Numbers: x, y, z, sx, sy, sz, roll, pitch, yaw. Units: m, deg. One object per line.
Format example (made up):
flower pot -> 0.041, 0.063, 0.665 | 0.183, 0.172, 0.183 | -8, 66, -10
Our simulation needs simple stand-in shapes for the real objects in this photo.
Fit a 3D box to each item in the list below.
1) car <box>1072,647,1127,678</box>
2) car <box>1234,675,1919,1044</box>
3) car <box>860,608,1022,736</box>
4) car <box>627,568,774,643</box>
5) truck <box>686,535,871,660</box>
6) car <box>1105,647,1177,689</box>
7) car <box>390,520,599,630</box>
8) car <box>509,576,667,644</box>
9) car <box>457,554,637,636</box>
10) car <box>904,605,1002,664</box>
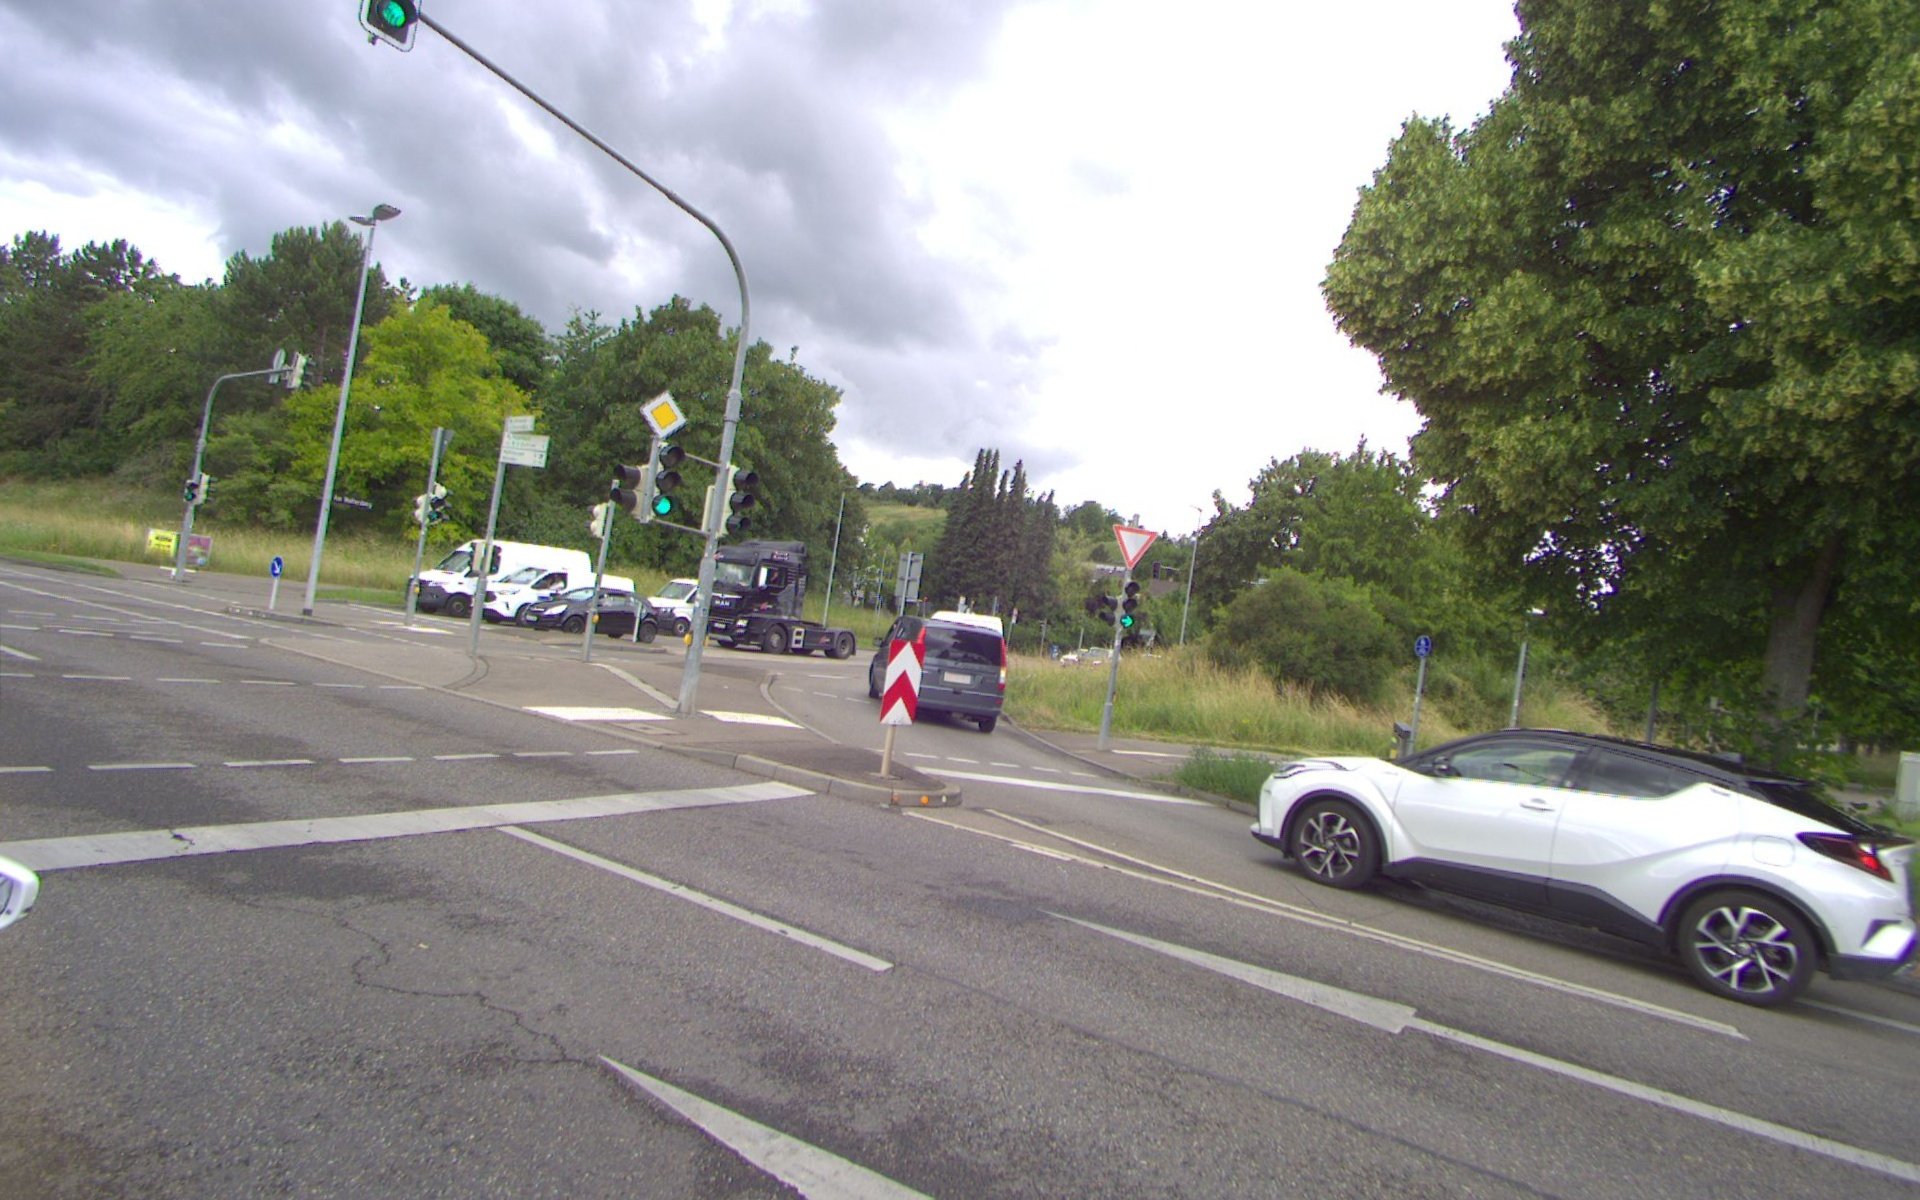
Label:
car -> 8.277, 3.703, 59.329 | 1.703, 1.453, 3.927 | 7, -1, 31
car -> 4.551, 1.709, 7.709 | 4.247, 1.550, 1.781 | 6, -5, 43
car -> -0.546, 1.293, 19.877 | 1.894, 1.854, 4.708 | 10, -2, -14
car -> -10.423, 0.293, 40.898 | 2.100, 2.316, 5.709 | 7, -1, 32
truck -> -6.209, 0.028, 35.334 | 2.682, 3.580, 6.061 | 7, -1, 32
car -> 8.869, 3.350, 48.961 | 1.754, 1.613, 4.451 | 8, -1, 32
car -> -15.334, -0.733, 33.591 | 2.100, 2.814, 5.903 | 7, -1, 32
car -> -10.604, 0.338, 28.923 | 1.703, 1.453, 3.927 | 7, -1, 31
car -> -12.931, -0.092, 31.810 | 1.999, 1.918, 4.862 | 7, -1, 31
car -> -0.274, 2.013, 57.044 | 2.160, 2.640, 6.509 | 7, -1, 32
